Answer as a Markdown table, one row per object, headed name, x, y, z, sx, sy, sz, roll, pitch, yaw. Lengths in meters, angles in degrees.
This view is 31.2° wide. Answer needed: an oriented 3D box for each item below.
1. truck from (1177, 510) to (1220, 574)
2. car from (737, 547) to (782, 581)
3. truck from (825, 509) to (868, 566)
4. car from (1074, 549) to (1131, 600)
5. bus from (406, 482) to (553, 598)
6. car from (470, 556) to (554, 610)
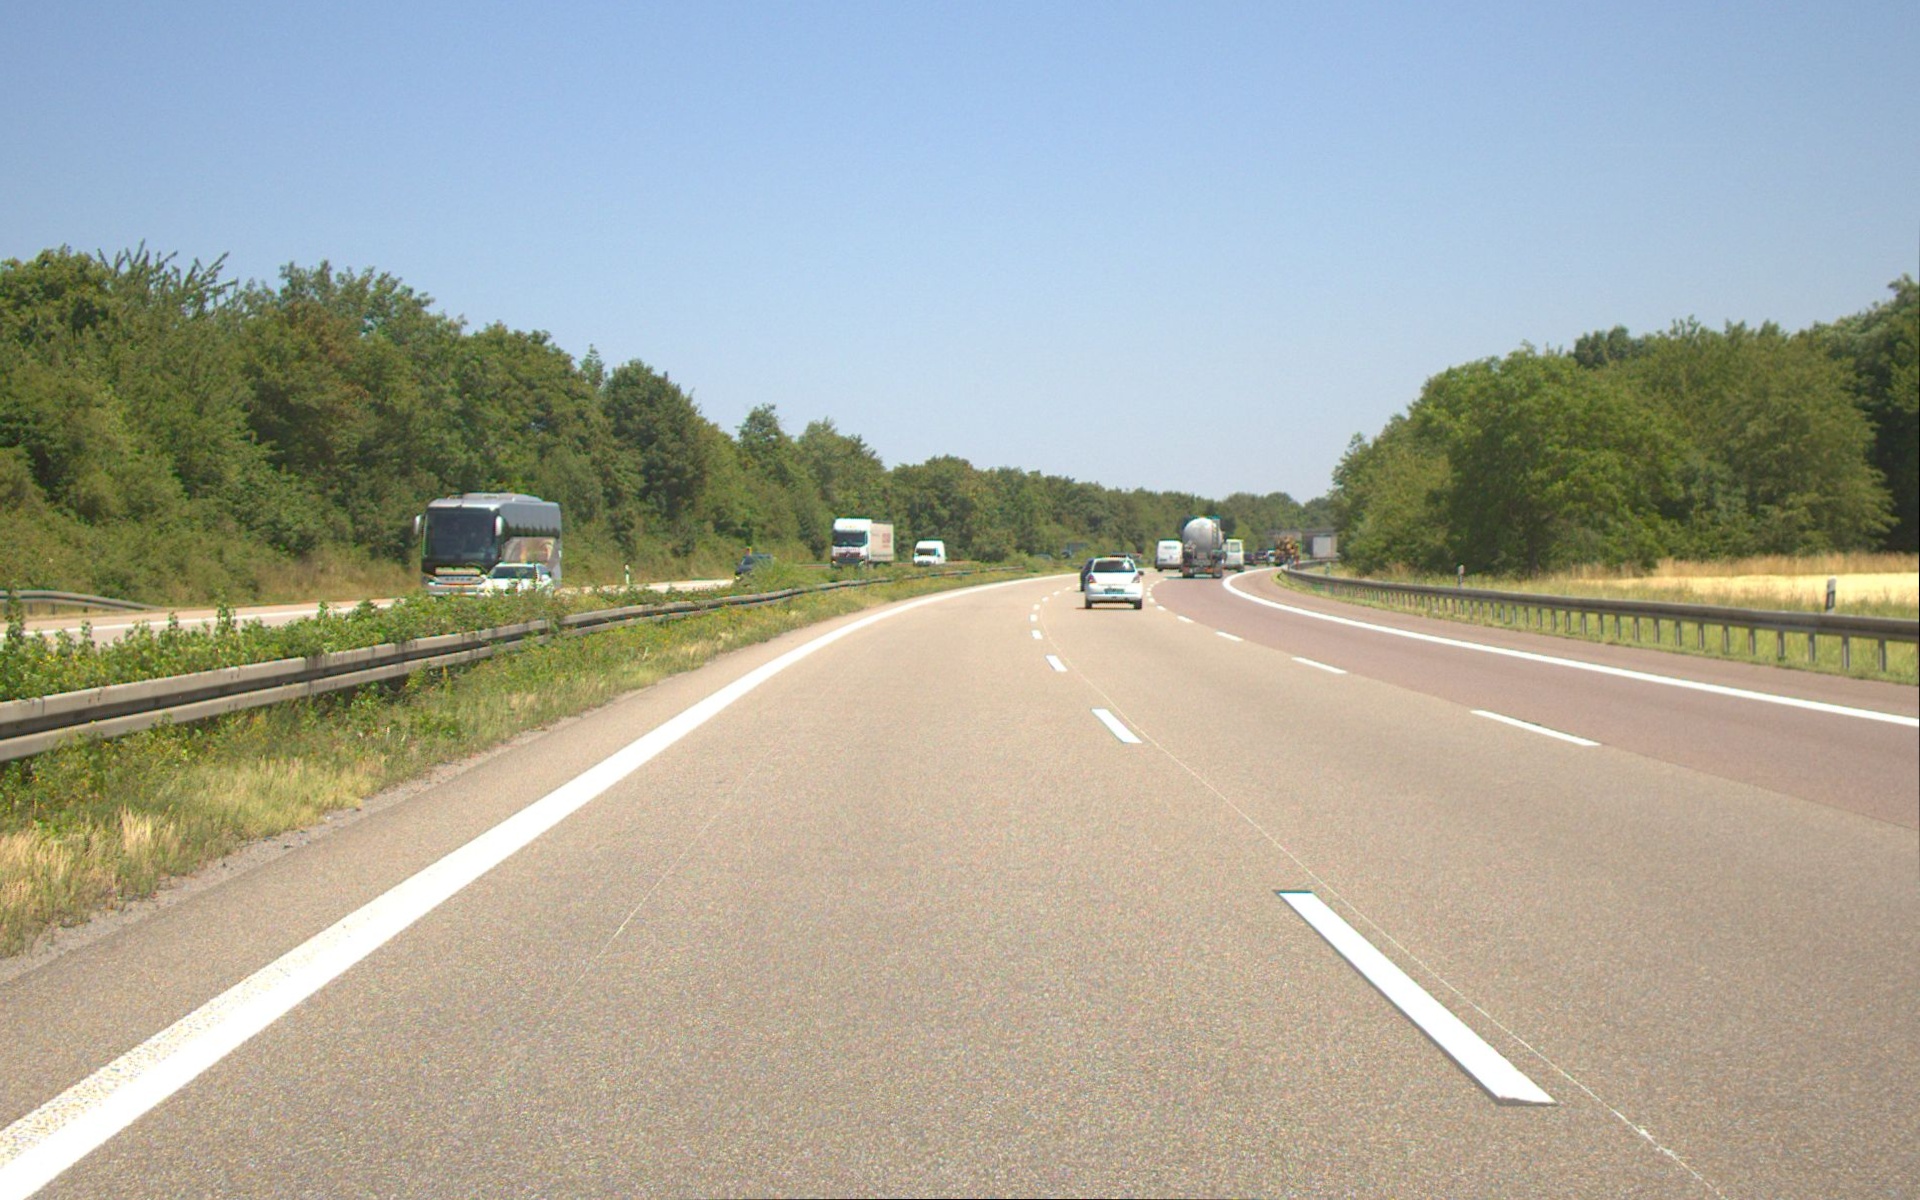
| name | x | y | z | sx | sy | sz | roll | pitch | yaw |
| --- | --- | --- | --- | --- | --- | --- | --- | --- | --- |
| truck | 15.604 | -3.753 | 225.257 | 2.739 | 4.038 | 10.453 | 0 | 0 | 4 |
| car | -9.677 | -1.740 | 166.373 | 1.825 | 1.626 | 4.559 | 0 | 1 | 1 |
| truck | -7.976 | -4.365 | 242.190 | 2.702 | 3.952 | 4.443 | -1 | 1 | 1 |
| car | 4.264 | -0.756 | 102.436 | 1.627 | 1.474 | 4.000 | 0 | 0 | 3 |
| bus | -16.193 | -2.008 | 116.879 | 2.741 | 3.695 | 13.000 | 1 | 1 | 2 |
| car | -12.924 | -0.510 | 99.374 | 1.768 | 1.509 | 4.331 | 1 | 1 | 1 |
